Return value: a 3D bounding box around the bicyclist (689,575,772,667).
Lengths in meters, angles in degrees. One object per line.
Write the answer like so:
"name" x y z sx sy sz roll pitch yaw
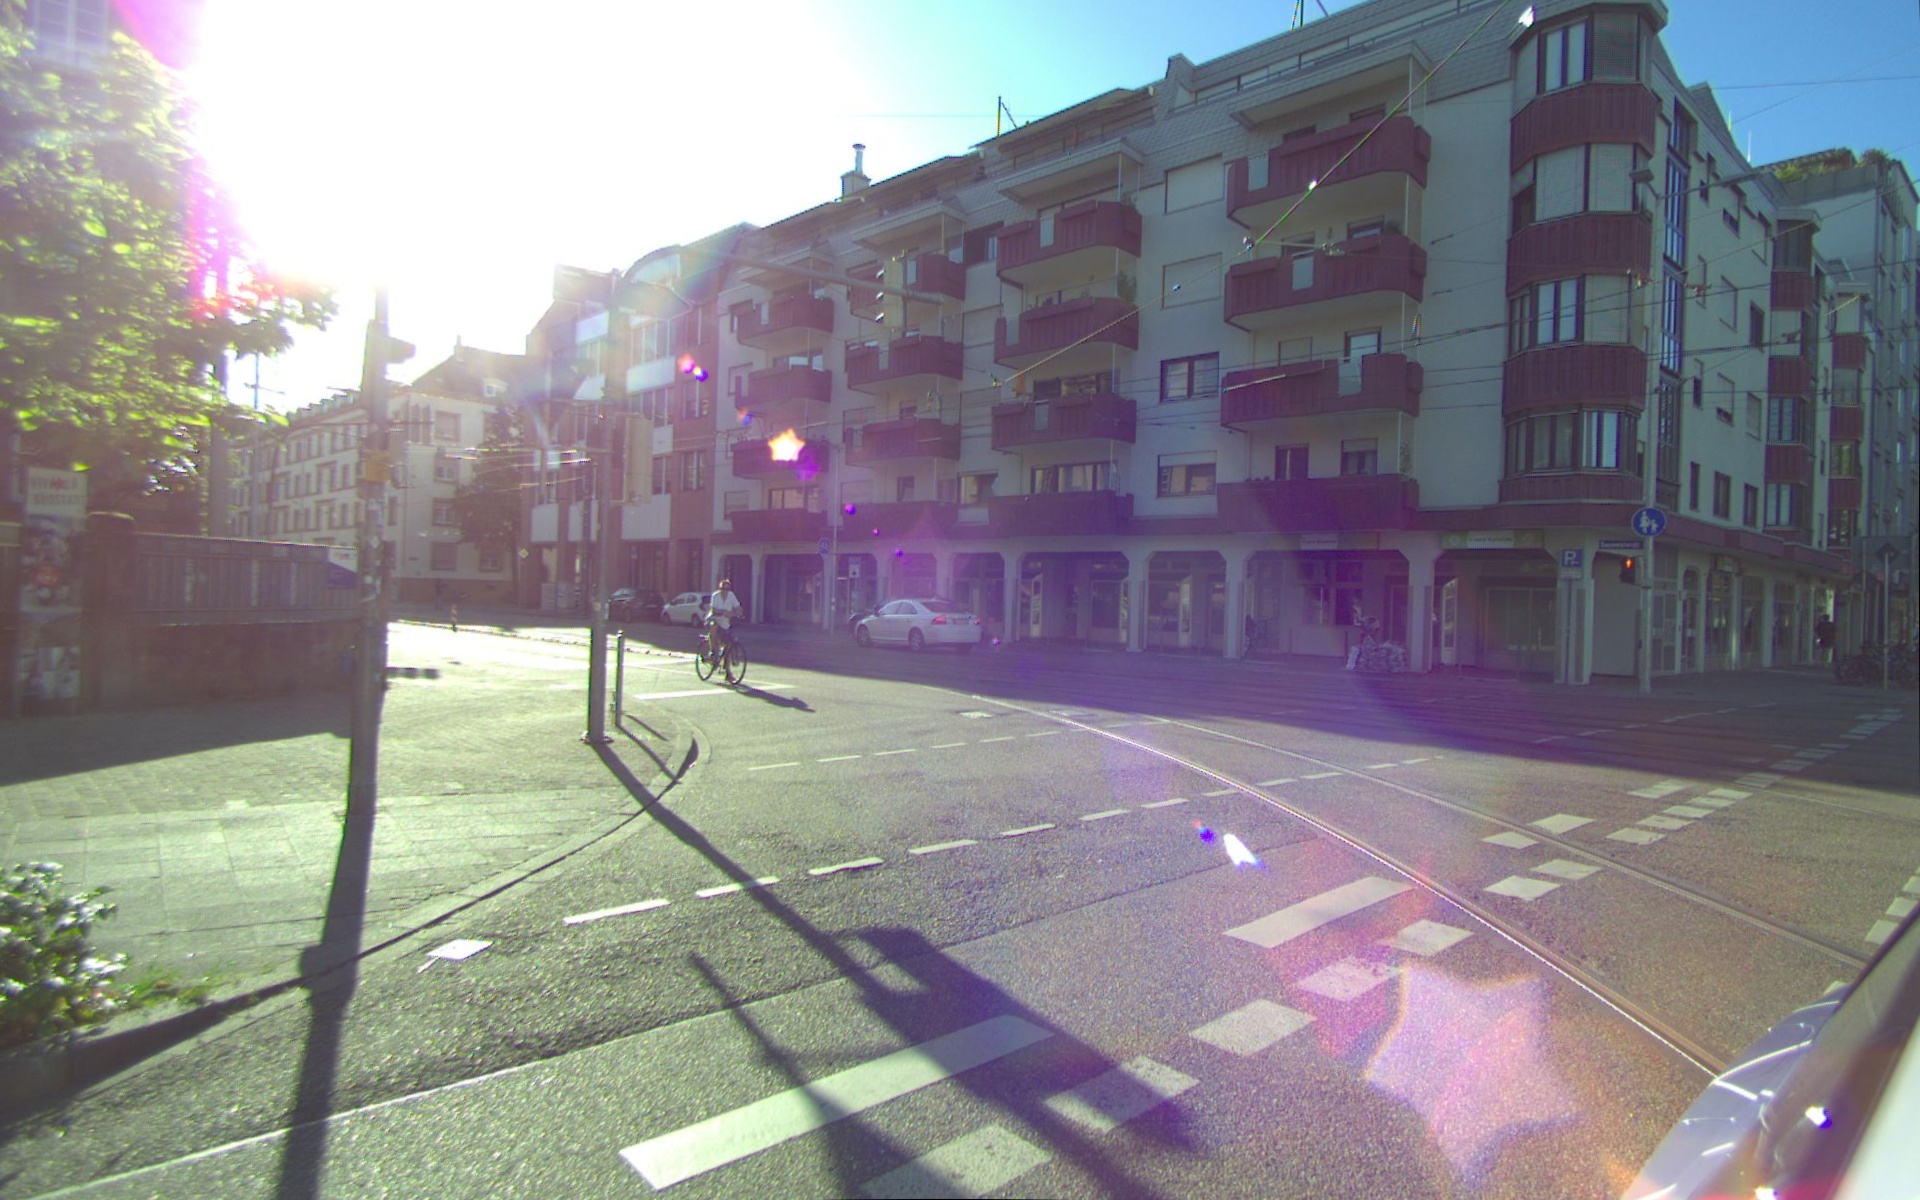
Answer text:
"bicyclist" -3.959 0.357 17.488 0.924 1.528 0.997 1 -2 39

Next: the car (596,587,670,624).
"car" -15.450 0.262 47.665 1.858 1.639 3.992 2 -2 -41

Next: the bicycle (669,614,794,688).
"bicycle" -3.957 0.850 17.441 2.320 1.133 0.833 1 -2 40

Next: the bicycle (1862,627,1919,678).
"bicycle" 23.962 1.321 25.453 0.486 1.236 1.837 3 -1 -36

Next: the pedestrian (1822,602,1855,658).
"pedestrian" 30.441 1.038 35.066 0.786 1.881 0.724 3 -1 -40

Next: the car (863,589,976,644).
"car" -1.415 0.556 33.914 1.708 1.706 3.900 2 -2 -41

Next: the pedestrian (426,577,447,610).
"pedestrian" -29.354 -0.359 56.787 0.985 1.792 0.686 1 -2 42

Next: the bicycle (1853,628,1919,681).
"bicycle" 22.967 1.318 24.595 0.535 1.215 1.808 1 0 -35

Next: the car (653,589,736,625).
"car" -11.553 0.331 43.979 1.879 1.489 3.992 2 -2 -41

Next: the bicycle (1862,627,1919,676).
"bicycle" 24.575 1.332 26.063 0.581 1.215 1.979 3 -1 -43

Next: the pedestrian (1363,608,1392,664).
"pedestrian" 10.529 0.911 25.534 0.656 1.368 0.651 1 -2 23

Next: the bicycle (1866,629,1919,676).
"bicycle" 25.040 1.391 26.464 0.562 1.185 1.942 3 -1 -42

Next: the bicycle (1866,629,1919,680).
"bicycle" 23.559 1.358 25.050 0.486 1.215 1.628 2 -1 -35

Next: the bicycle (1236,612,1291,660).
"bicycle" 8.298 0.967 27.744 0.603 1.215 1.801 2 0 -12

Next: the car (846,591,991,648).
"car" -1.308 0.511 28.995 1.819 1.474 4.900 3 -1 -34
